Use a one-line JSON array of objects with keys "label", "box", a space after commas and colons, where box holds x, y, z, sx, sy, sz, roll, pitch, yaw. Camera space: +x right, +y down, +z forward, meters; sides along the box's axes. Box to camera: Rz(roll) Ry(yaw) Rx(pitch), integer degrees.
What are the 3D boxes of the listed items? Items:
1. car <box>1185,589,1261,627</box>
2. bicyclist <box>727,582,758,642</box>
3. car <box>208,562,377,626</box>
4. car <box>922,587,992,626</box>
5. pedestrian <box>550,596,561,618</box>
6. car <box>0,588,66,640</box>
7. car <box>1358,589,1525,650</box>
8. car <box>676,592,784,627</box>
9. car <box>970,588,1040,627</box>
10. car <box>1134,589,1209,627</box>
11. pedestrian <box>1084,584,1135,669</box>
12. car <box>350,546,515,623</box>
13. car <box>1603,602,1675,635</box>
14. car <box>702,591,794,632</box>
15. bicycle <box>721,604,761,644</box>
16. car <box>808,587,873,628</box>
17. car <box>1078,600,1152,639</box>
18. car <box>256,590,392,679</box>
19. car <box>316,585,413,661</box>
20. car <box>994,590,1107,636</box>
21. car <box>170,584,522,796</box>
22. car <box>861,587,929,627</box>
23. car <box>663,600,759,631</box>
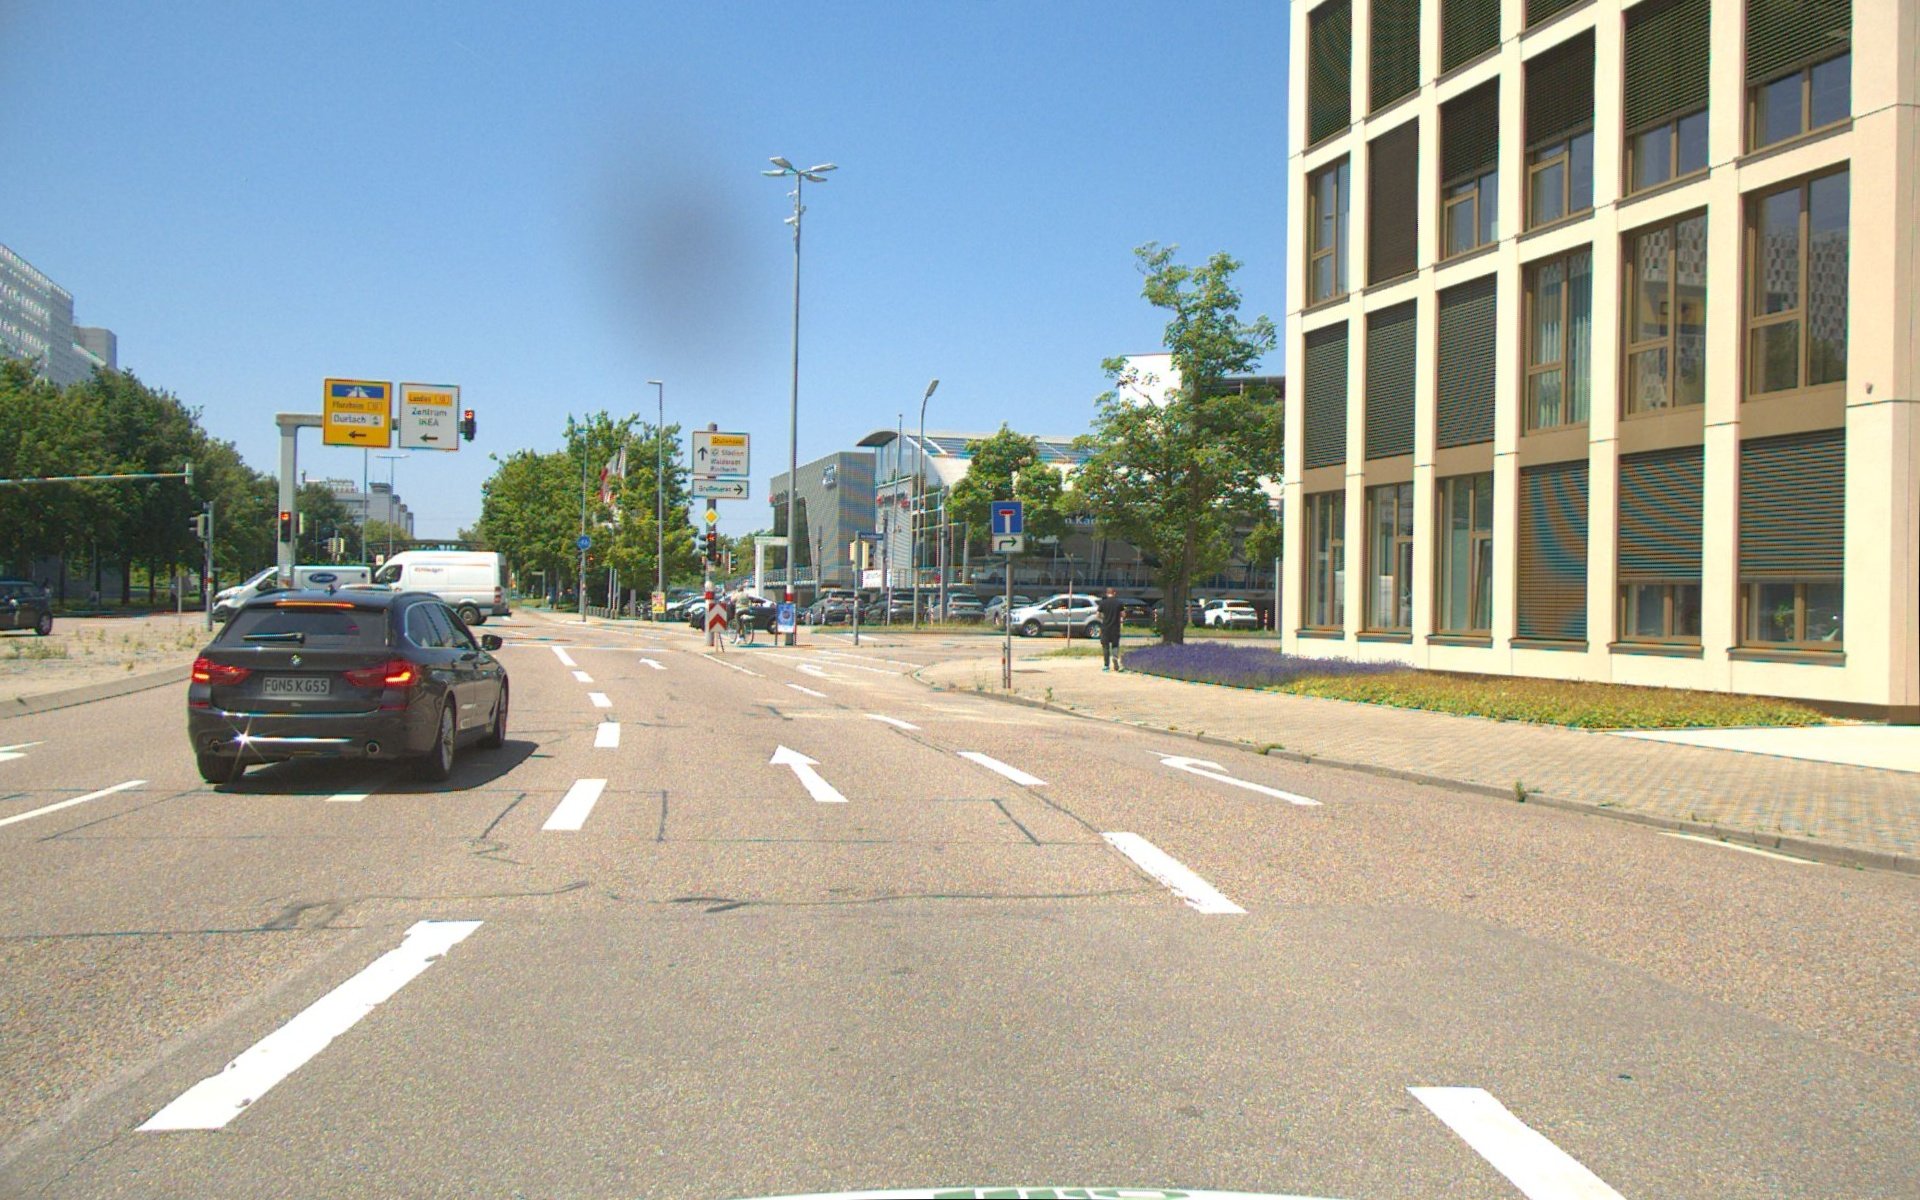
[{"label": "car", "box": [12.362, 0.368, 78.080, 1.798, 1.668, 4.454, 0, 1, -17]}, {"label": "bicyclist", "box": [-6.574, 0.358, 50.018, 0.723, 1.779, 0.749, 2, 0, -21]}, {"label": "car", "box": [-21.434, -0.174, 53.150, 4.776, 1.883, 1.817, 2, -1, -32]}, {"label": "car", "box": [-0.193, 0.266, 74.193, 1.962, 1.668, 4.421, 0, 1, -17]}, {"label": "pedestrian", "box": [-28.321, 0.481, 115.791, 0.657, 1.537, 0.732, 1, 0, -17]}, {"label": "car", "box": [-25.169, 0.348, 42.998, 1.818, 1.325, 3.892, 0, 1, -1]}, {"label": "car", "box": [15.206, 0.584, 52.337, 4.800, 1.847, 1.701, 0, 0, 31]}, {"label": "car", "box": [-10.507, 0.421, 75.374, 4.663, 1.482, 1.992, 1, 1, -15]}, {"label": "car", "box": [2.023, 0.302, 75.031, 1.855, 1.668, 4.504, 0, 1, -17]}, {"label": "car", "box": [9.823, 0.366, 77.226, 1.798, 1.668, 4.454, 0, 1, -17]}, {"label": "pedestrian", "box": [3.336, 0.582, 36.889, 0.862, 1.877, 0.761, -1, 0, -44]}, {"label": "car", "box": [-19.351, -0.545, 60.905, 5.385, 2.611, 1.997, 2, -1, -6]}, {"label": "car", "box": [39.062, 1.050, 95.244, 1.706, 1.817, 3.981, 1, 0, -17]}, {"label": "car", "box": [-7.920, 0.421, 61.567, 3.306, 1.381, 1.620, 2, 0, -10]}, {"label": "bicycle", "box": [-6.668, 0.716, 50.271, 0.775, 1.147, 1.909, 2, 0, -20]}, {"label": "car", "box": [-5.253, 0.293, 72.371, 1.962, 1.668, 4.249, 1, 1, -17]}, {"label": "car", "box": [7.118, 0.884, 76.580, 1.799, 1.668, 4.452, 1, 1, -18]}, {"label": "car", "box": [-11.109, 0.554, 29.161, 1.719, 1.414, 4.515, 1, 0, -15]}, {"label": "car", "box": [-12.957, 0.470, 35.883, 1.773, 1.520, 3.973, 2, 0, -22]}, {"label": "car", "box": [3.475, 0.488, 63.777, 4.115, 1.680, 1.712, 1, 0, -7]}, {"label": "car", "box": [-5.002, 0.635, 14.163, 1.766, 1.491, 4.616, 1, 0, -7]}, {"label": "car", "box": [-2.913, 0.278, 73.304, 1.962, 1.668, 4.537, 1, 1, -17]}, {"label": "car", "box": [-12.893, 0.794, 85.526, 4.669, 1.482, 1.990, 1, 1, -19]}]
